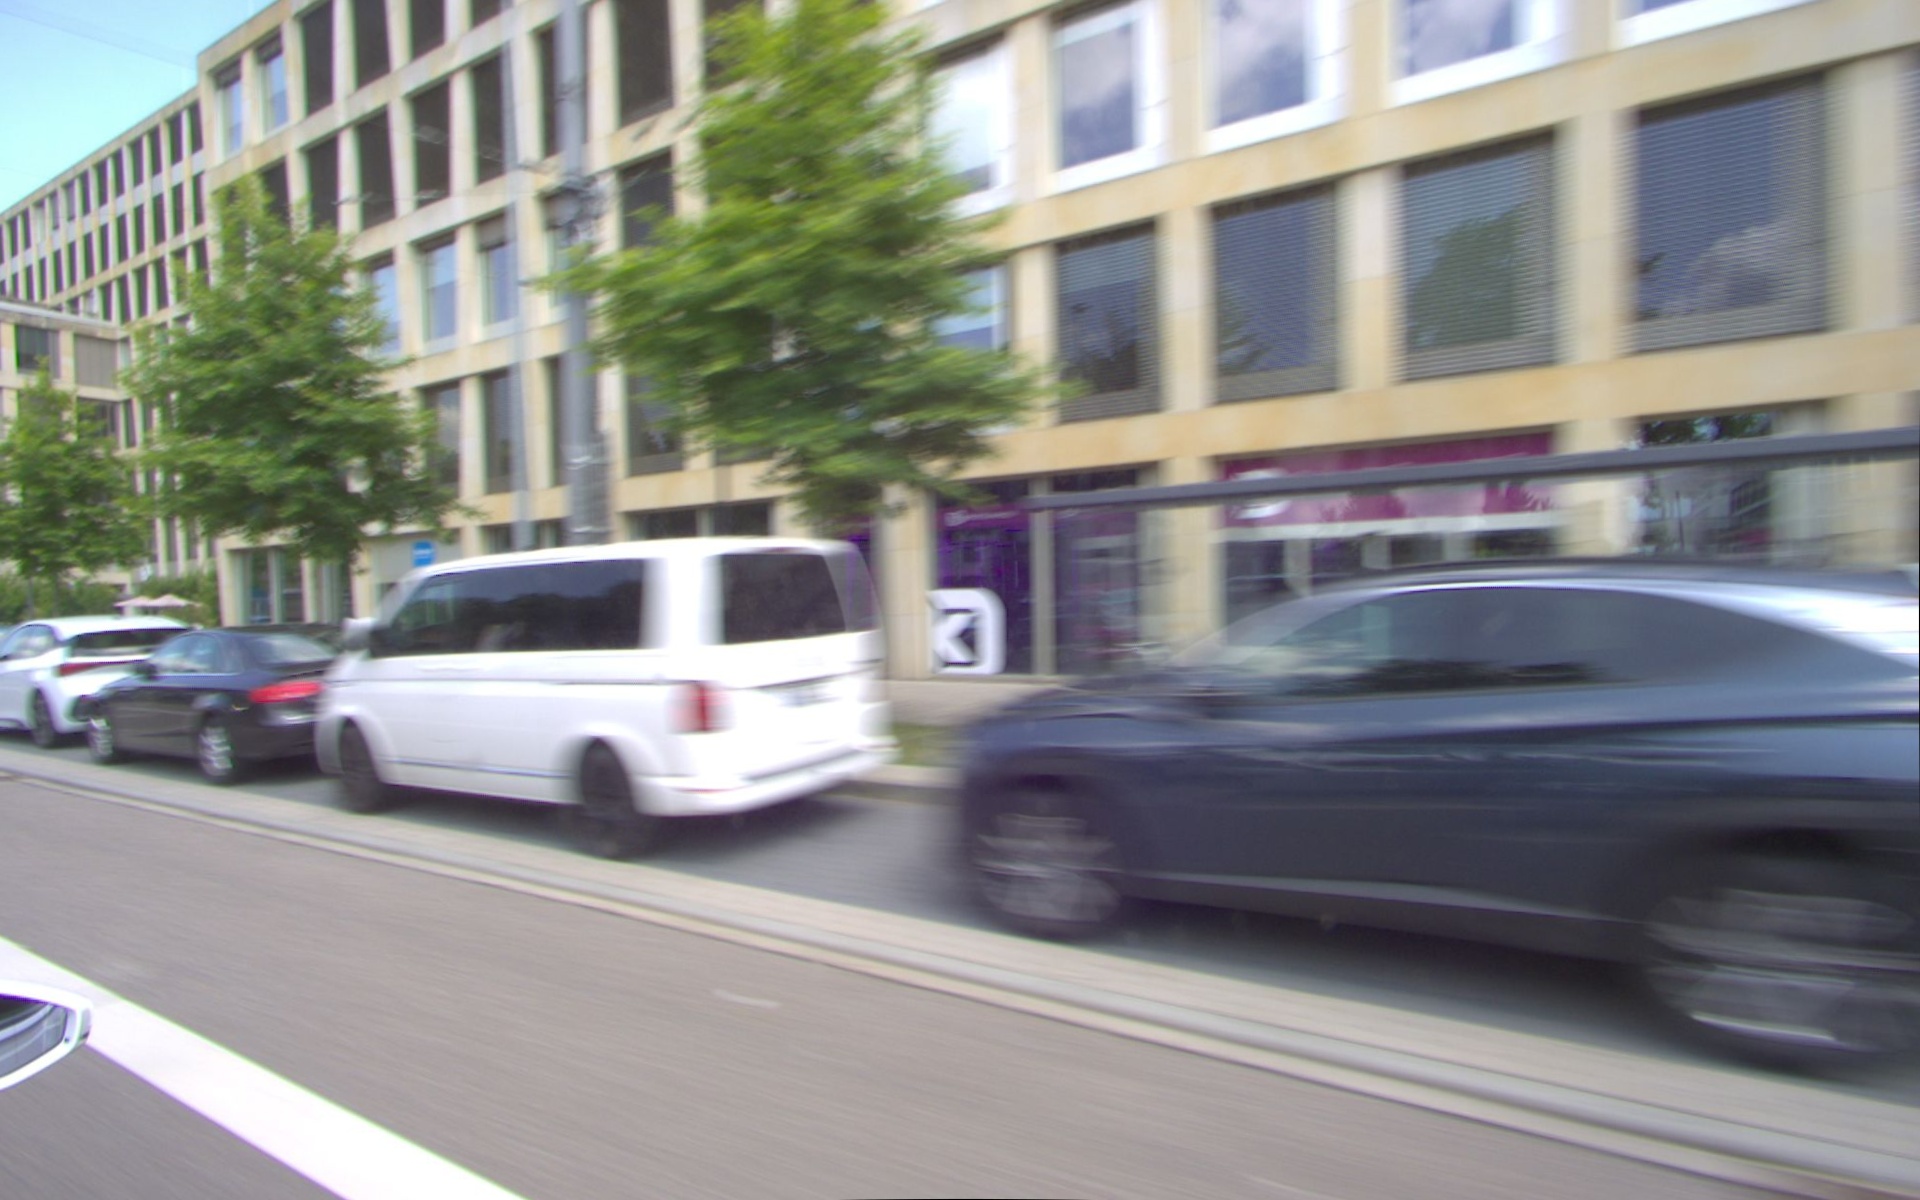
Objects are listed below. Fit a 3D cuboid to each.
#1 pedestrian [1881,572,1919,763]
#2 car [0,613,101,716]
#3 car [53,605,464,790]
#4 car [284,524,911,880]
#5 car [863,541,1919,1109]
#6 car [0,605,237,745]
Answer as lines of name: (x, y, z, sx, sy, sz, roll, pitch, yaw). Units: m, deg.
pedestrian: (8.326, 0.547, 8.301, 0.892, 1.572, 0.636, 0, 1, 32)
car: (-15.768, 1.003, 16.216, 3.894, 1.477, 1.681, -1, 2, 32)
car: (-7.397, 0.856, 10.454, 4.498, 1.507, 1.877, -1, 2, 32)
car: (-2.878, 0.561, 7.585, 4.774, 1.966, 1.877, -1, 2, 32)
car: (1.875, 0.649, 4.494, 4.462, 1.663, 1.717, -1, 2, 32)
car: (-11.686, 0.896, 13.420, 4.099, 1.551, 1.788, -1, 2, 32)
